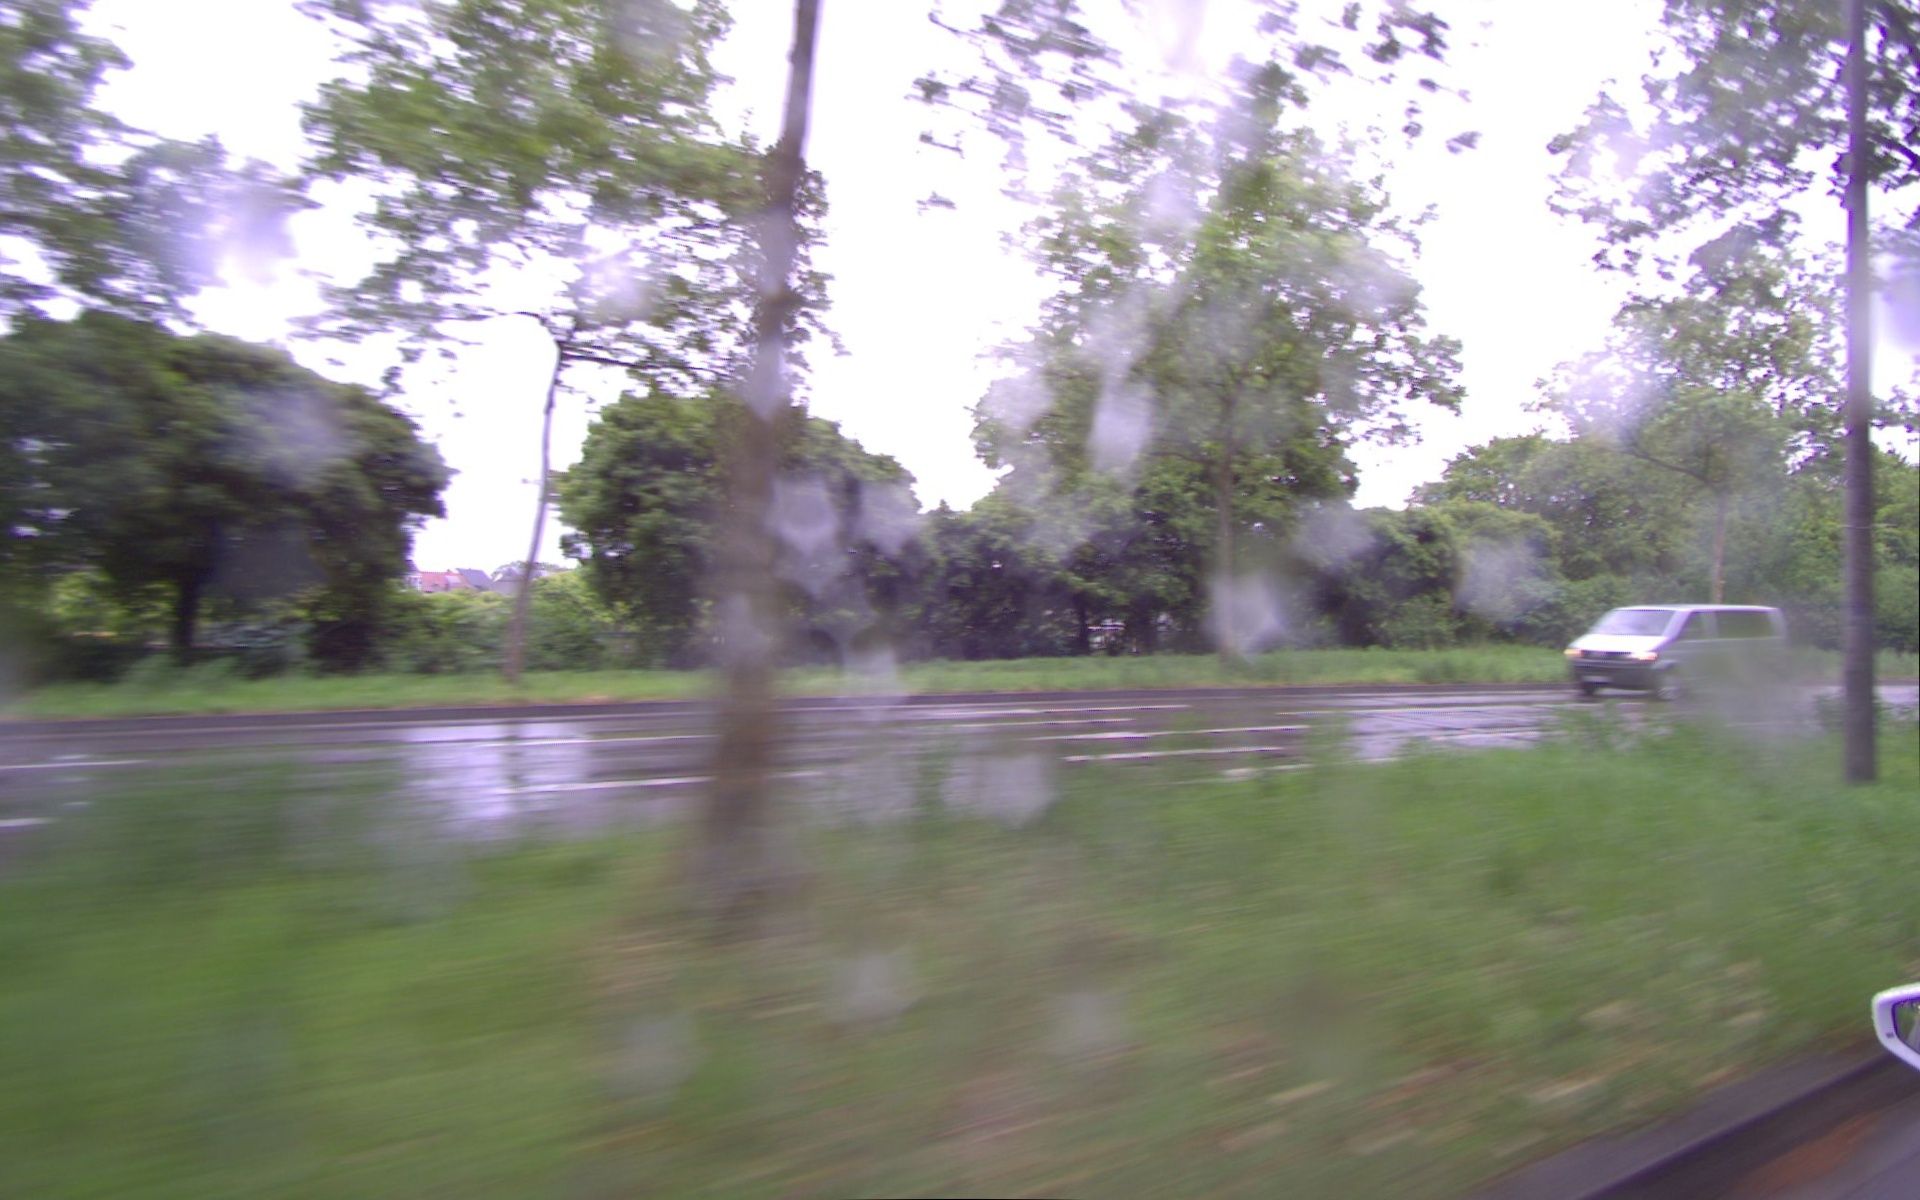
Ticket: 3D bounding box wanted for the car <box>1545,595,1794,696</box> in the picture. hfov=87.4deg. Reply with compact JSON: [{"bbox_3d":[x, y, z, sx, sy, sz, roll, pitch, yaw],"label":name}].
[{"bbox_3d":[15.211,0.956,21.512,5.122,1.966,1.930,1,-1,-22],"label":"car"}]
